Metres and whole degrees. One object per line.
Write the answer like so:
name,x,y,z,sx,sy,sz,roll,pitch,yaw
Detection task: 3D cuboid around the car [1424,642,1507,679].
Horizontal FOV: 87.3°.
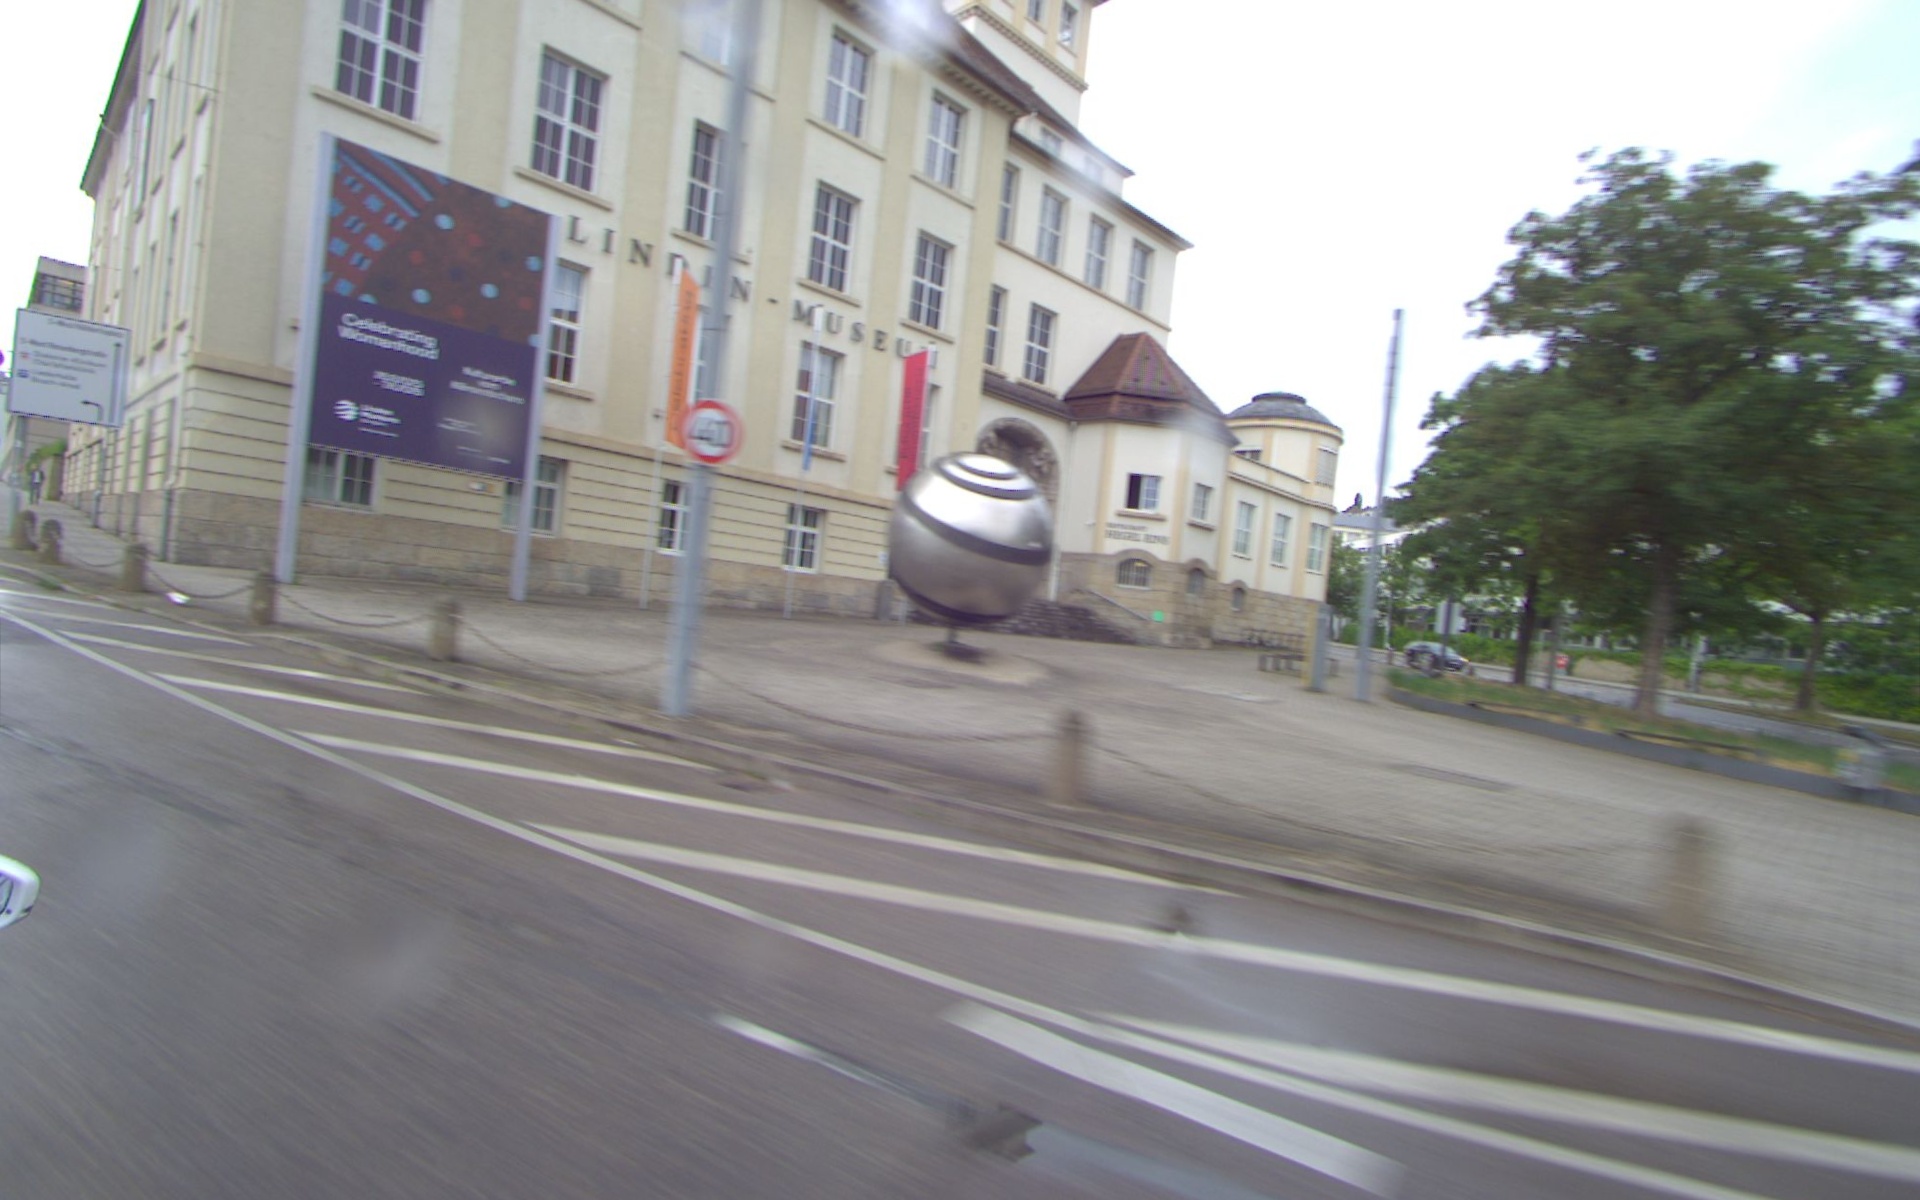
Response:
car,26.764,3.195,53.403,1.764,1.460,3.992,6,0,-10

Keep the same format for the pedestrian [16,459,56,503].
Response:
pedestrian,-42.052,-5.398,45.788,1.234,1.813,1.576,4,3,-42
